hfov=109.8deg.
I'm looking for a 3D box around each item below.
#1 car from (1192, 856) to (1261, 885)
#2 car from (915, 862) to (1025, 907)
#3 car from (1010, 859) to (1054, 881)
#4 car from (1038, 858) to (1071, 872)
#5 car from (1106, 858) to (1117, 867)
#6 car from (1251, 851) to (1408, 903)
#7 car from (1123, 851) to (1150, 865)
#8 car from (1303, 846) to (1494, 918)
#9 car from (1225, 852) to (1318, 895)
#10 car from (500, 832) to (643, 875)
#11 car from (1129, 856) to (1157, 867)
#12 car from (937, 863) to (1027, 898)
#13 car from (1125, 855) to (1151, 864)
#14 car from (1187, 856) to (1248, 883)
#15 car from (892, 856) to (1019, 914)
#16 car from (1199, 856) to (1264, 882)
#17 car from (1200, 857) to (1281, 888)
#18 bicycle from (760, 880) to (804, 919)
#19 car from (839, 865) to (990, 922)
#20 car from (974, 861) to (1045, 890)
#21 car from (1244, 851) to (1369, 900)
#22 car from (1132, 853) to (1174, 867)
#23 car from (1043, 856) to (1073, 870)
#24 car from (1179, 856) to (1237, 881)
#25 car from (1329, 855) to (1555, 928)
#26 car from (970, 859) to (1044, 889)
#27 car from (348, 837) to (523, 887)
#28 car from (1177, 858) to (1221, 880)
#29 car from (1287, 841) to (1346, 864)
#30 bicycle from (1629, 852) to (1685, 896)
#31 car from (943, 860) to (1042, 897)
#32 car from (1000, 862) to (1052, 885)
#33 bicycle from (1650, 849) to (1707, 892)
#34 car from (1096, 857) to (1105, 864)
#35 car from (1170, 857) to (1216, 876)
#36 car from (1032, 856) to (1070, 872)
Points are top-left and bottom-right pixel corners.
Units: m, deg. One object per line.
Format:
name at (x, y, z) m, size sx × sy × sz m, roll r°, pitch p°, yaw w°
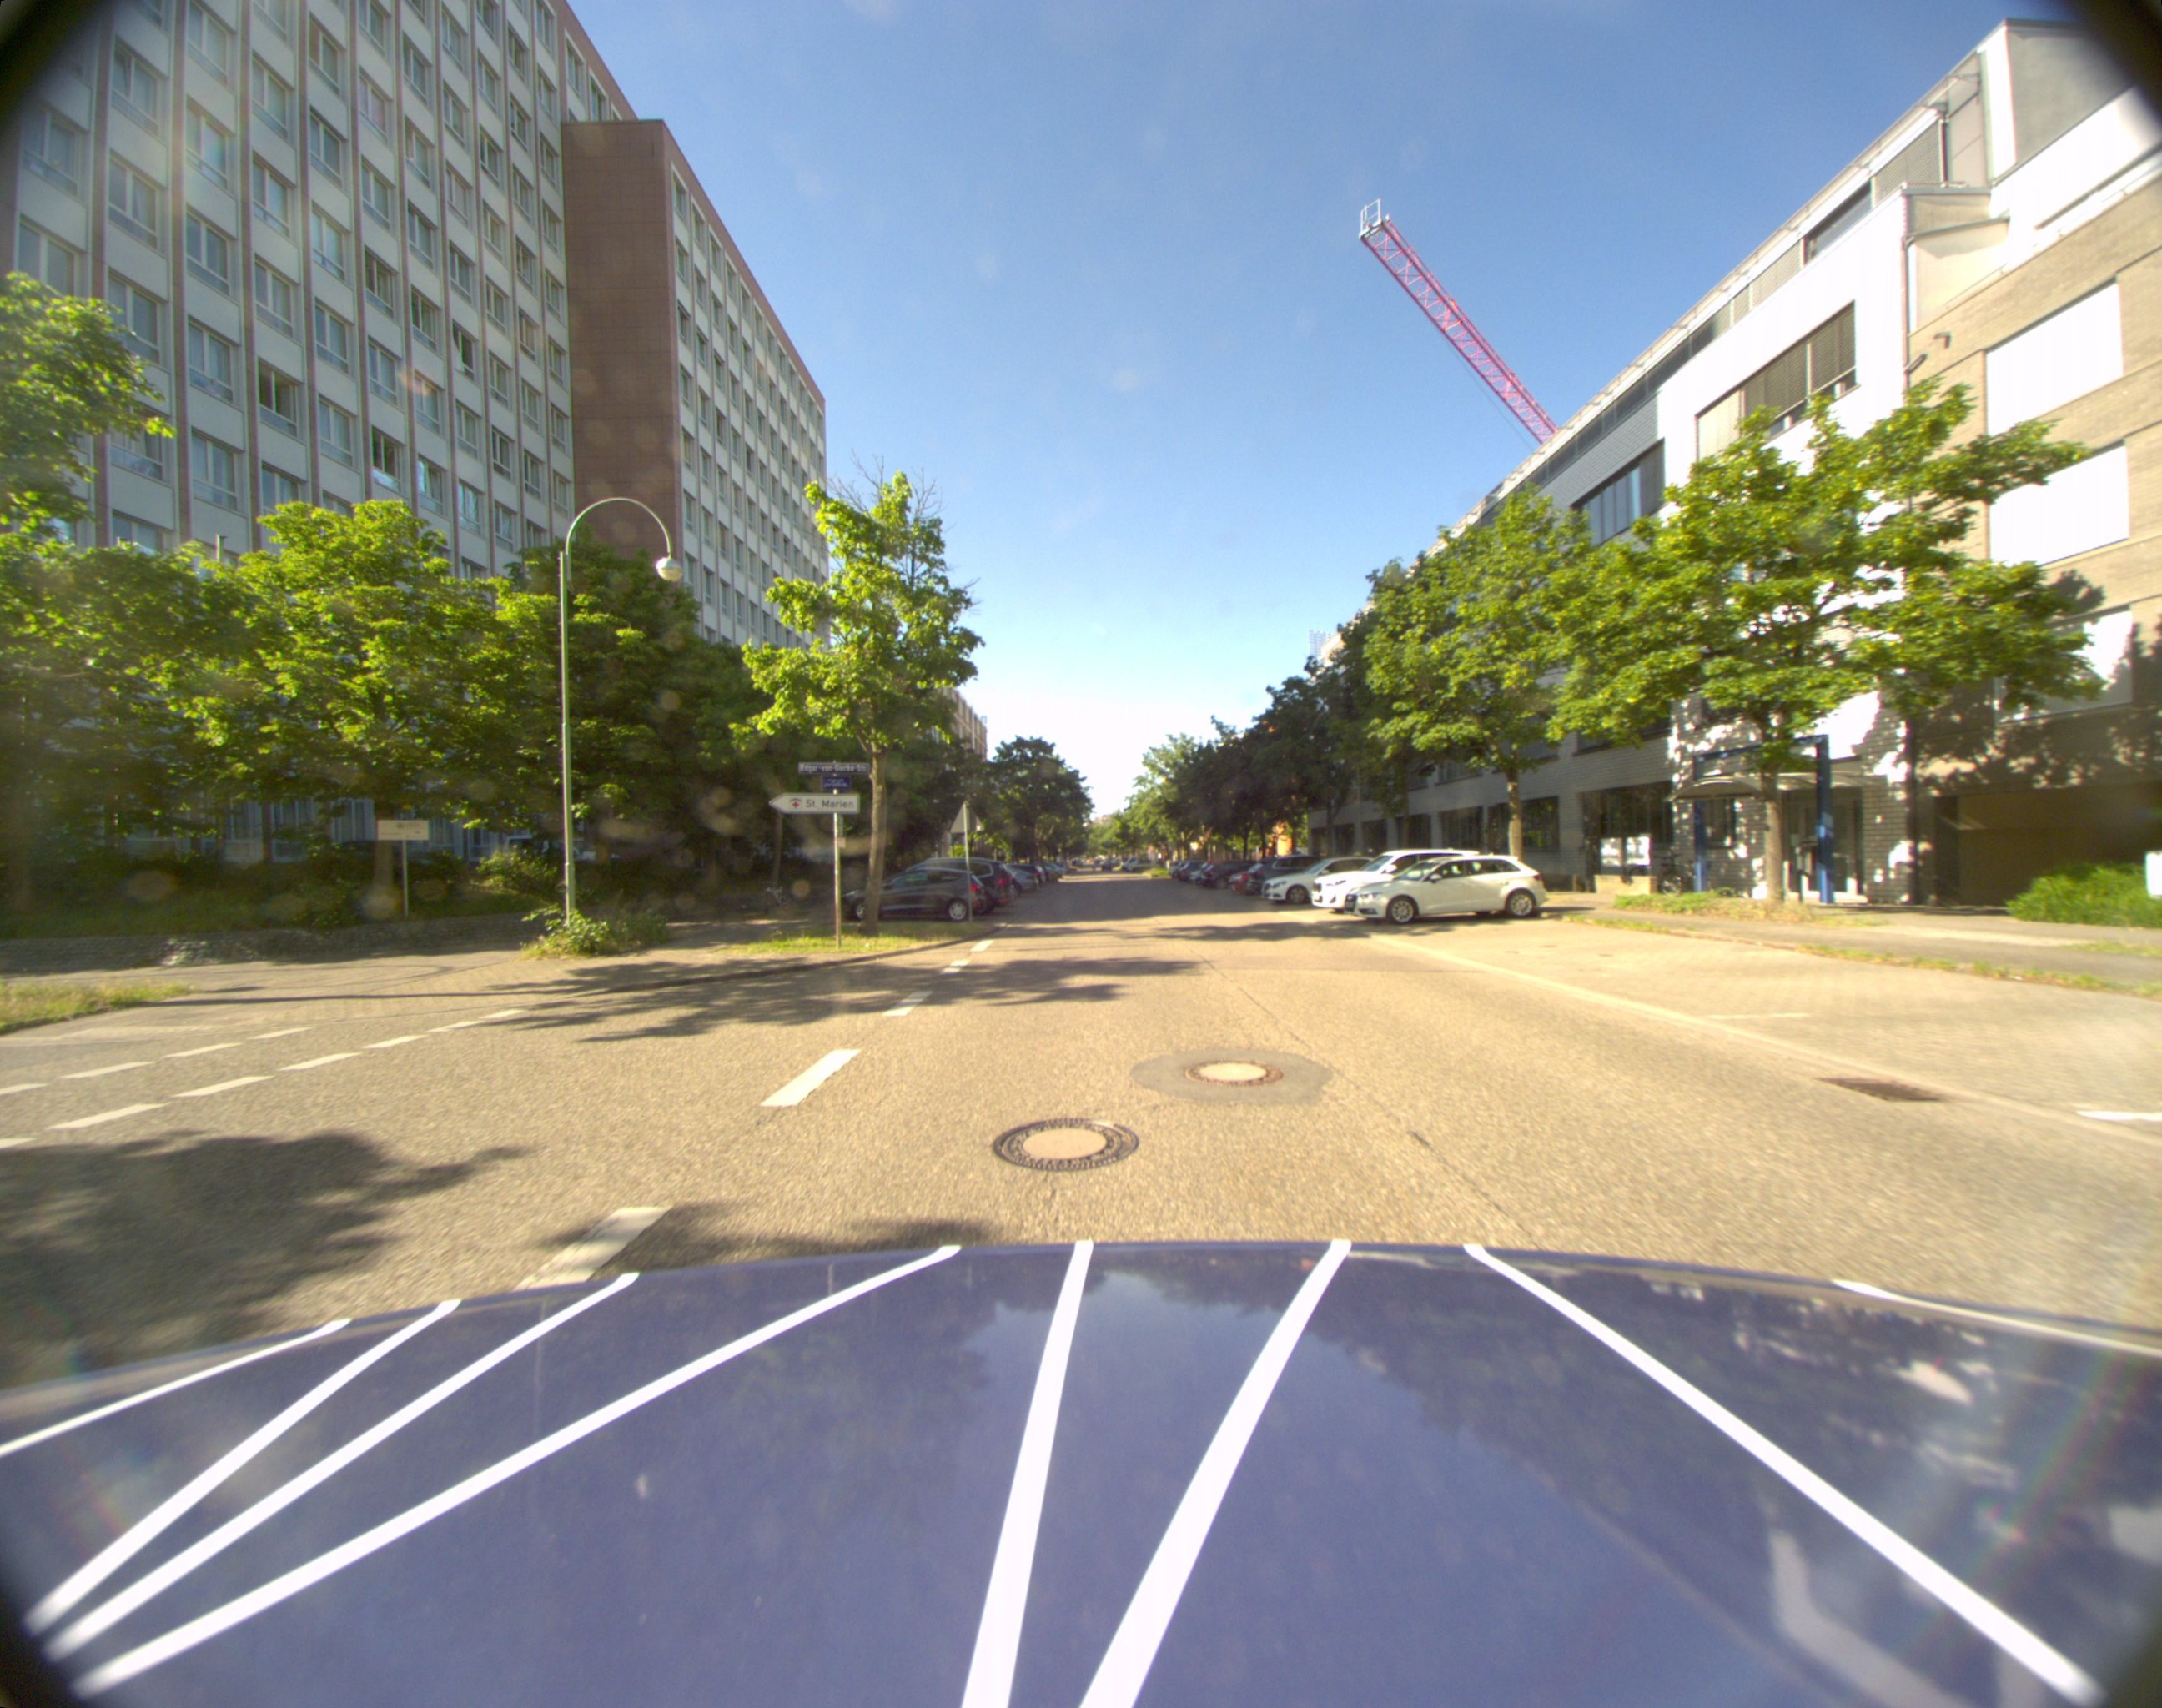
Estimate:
car at (8.134, 0.918, 42.739) m, size 3.539 × 1.428 × 1.657 m, roll -2°, pitch 0°, yaw -1°
car at (-4.022, 1.097, 28.040) m, size 3.881 × 1.556 × 1.808 m, roll 0°, pitch 0°, yaw -4°
car at (-3.547, 1.172, 55.690) m, size 3.053 × 1.595 × 1.605 m, roll 0°, pitch 0°, yaw 3°
car at (-3.336, 1.382, 95.960) m, size 3.996 × 1.463 × 1.953 m, roll -2°, pitch 0°, yaw 2°
car at (5.168, 1.419, 129.118) m, size 1.766 × 1.365 × 4.001 m, roll -2°, pitch 0°, yaw 4°
car at (8.199, 0.746, 25.357) m, size 4.521 × 1.443 × 1.940 m, roll -3°, pitch 0°, yaw -3°
car at (8.624, 0.601, 118.565) m, size 3.997 × 2.094 × 2.000 m, roll -2°, pitch 0°, yaw -1°
car at (8.360, 0.709, 20.326) m, size 4.235 × 1.593 × 1.953 m, roll -3°, pitch 1°, yaw 1°
car at (8.175, 0.833, 32.750) m, size 3.580 × 1.658 × 1.655 m, roll -3°, pitch 0°, yaw 3°
car at (-21.786, -0.011, 32.642) m, size 4.729 × 1.676 × 1.875 m, roll -2°, pitch 0°, yaw -3°
car at (9.013, 1.145, 111.260) m, size 3.967 × 1.463 × 1.953 m, roll -2°, pitch 0°, yaw 2°
car at (-4.286, 1.148, 33.183) m, size 3.720 × 1.472 × 1.724 m, roll 0°, pitch 0°, yaw -1°
car at (9.260, 0.867, 123.838) m, size 3.997 × 1.406 × 1.594 m, roll -1°, pitch 0°, yaw -1°
car at (8.552, 0.936, 47.783) m, size 3.527 × 1.520 × 1.657 m, roll -2°, pitch 0°, yaw -1°
car at (-3.888, 0.955, 23.927) m, size 3.681 × 1.741 × 1.724 m, roll 0°, pitch 0°, yaw 2°
car at (8.998, 0.890, 45.580) m, size 3.539 × 1.437 × 1.657 m, roll -2°, pitch 0°, yaw -3°
car at (8.315, 0.970, 39.944) m, size 3.832 × 1.405 × 1.688 m, roll -3°, pitch -1°, yaw -1°
bicycle at (-8.584, 1.291, 21.891) m, size 0.302 × 0.987 × 1.958 m, roll -2°, pitch 0°, yaw 5°
car at (-4.560, 1.092, 21.236) m, size 3.845 × 1.438 × 1.592 m, roll 2°, pitch -2°, yaw -2°
car at (-3.718, 1.110, 39.903) m, size 3.581 × 1.498 × 1.724 m, roll 0°, pitch 0°, yaw 0°
car at (8.377, 0.796, 28.524) m, size 4.122 × 1.611 × 1.803 m, roll -3°, pitch 0°, yaw 2°
car at (9.331, 0.768, 99.142) m, size 5.252 × 1.615 × 1.953 m, roll -2°, pitch 0°, yaw 2°
car at (-3.180, 1.194, 104.119) m, size 3.998 × 1.773 × 1.952 m, roll -2°, pitch 0°, yaw -4°
car at (8.365, 0.948, 50.290) m, size 3.539 × 1.497 × 1.646 m, roll -2°, pitch 0°, yaw -1°
car at (8.105, 0.818, 17.335) m, size 4.269 × 1.471 × 1.800 m, roll -2°, pitch 0°, yaw 0°
car at (-4.042, 1.073, 42.188) m, size 3.982 × 1.540 × 1.683 m, roll -1°, pitch 0°, yaw -3°
car at (-21.560, 0.254, 25.529) m, size 4.237 × 1.498 × 1.723 m, roll -1°, pitch 0°, yaw -5°
car at (8.512, 1.089, 54.774) m, size 2.933 × 1.435 × 1.389 m, roll -2°, pitch 0°, yaw 0°
car at (23.954, -0.124, 77.361) m, size 5.328 × 2.086 × 1.932 m, roll -2°, pitch 1°, yaw -1°
bicycle at (16.071, 0.541, 21.235) m, size 0.338 × 1.168 × 1.627 m, roll -2°, pitch 0°, yaw 1°
car at (-4.126, 1.142, 35.859) m, size 4.431 × 1.544 × 1.859 m, roll -2°, pitch 0°, yaw 0°
car at (-3.596, 1.247, 49.928) m, size 3.203 × 1.471 × 1.589 m, roll 0°, pitch 1°, yaw 4°
bicycle at (17.008, 0.463, 21.673) m, size 0.338 × 1.168 × 1.627 m, roll -2°, pitch 0°, yaw 1°
car at (4.545, 1.494, 177.290) m, size 1.951 × 1.617 × 4.001 m, roll -2°, pitch 0°, yaw 4°
car at (9.512, 1.055, 64.720) m, size 3.630 × 1.499 × 1.618 m, roll -2°, pitch 0°, yaw -1°
car at (-3.378, 1.126, 85.910) m, size 4.164 × 1.696 × 2.000 m, roll -2°, pitch 0°, yaw -1°
